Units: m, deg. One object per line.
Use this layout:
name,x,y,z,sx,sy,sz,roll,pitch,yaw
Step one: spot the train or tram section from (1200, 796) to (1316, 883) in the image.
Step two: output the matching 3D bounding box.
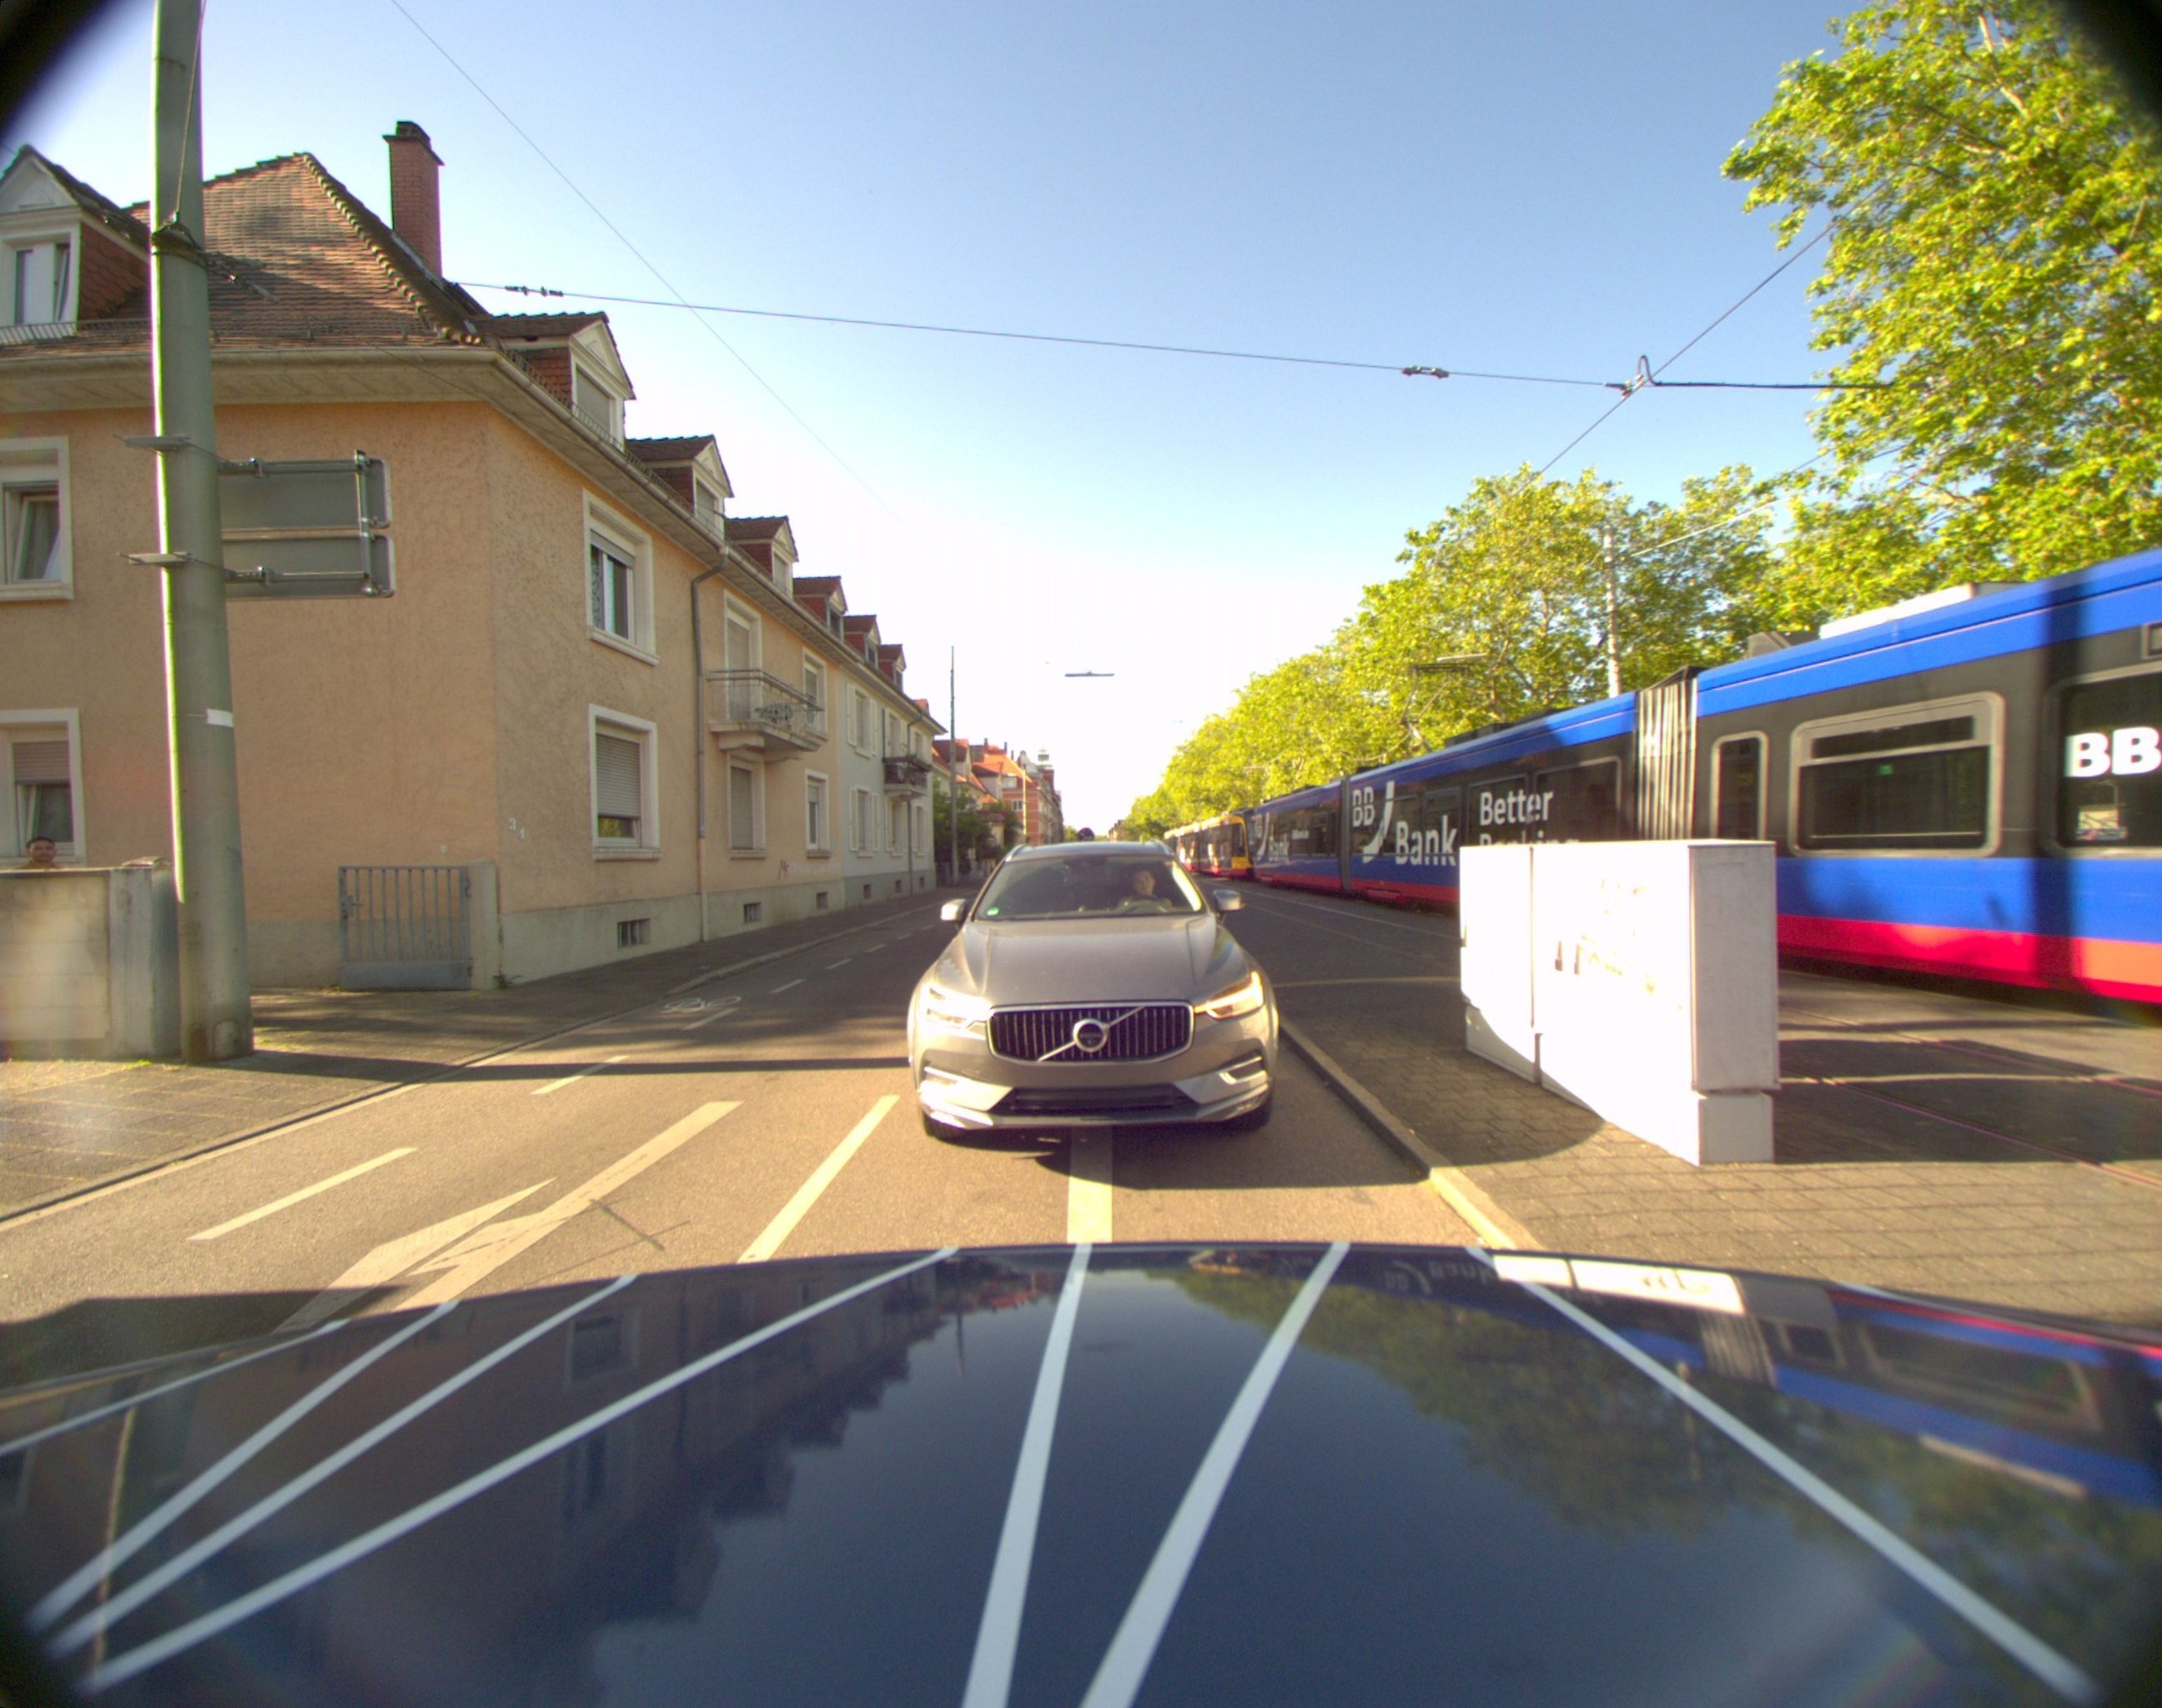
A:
train or tram section,8.351,-0.626,37.898,3.063,3.592,12.114,-1,0,1

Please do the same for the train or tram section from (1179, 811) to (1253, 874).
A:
train or tram section,8.588,-0.690,49.954,3.062,3.592,11.950,-1,0,2

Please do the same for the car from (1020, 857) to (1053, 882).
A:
car,-2.782,0.971,48.399,1.882,1.477,3.999,-1,0,-1

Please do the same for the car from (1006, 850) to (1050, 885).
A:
car,-2.916,0.717,42.852,1.932,1.834,5.313,-1,0,2

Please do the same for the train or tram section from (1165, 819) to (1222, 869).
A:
train or tram section,8.977,-0.751,62.417,3.062,3.592,12.889,-1,0,2

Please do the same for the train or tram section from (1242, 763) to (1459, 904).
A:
train or tram section,8.264,-0.559,25.738,3.063,3.592,12.113,-1,0,0

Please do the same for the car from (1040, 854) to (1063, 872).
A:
car,-2.625,0.756,67.520,1.882,1.477,3.999,-1,0,-1

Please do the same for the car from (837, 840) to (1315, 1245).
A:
car,0.009,0.763,5.349,1.917,1.621,4.502,-1,0,1

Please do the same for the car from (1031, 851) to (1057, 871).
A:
car,-2.946,0.552,60.592,1.882,1.477,3.999,-1,0,-1

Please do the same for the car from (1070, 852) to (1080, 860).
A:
car,-1.119,0.290,147.770,1.882,1.477,3.999,-1,0,-1

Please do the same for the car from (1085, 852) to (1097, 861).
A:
car,1.718,0.408,128.866,1.882,1.477,3.999,-1,0,-1

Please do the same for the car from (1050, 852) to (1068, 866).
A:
car,-2.467,0.535,85.587,1.882,1.477,3.999,-1,0,-1

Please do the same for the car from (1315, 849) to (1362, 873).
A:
car,17.017,0.454,50.334,1.882,1.477,4.000,-1,0,2

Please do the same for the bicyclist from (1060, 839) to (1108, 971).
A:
bicyclist,0.045,0.661,10.217,0.600,1.709,0.662,-1,1,1

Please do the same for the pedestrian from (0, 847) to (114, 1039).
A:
pedestrian,-9.869,0.816,7.230,0.486,1.750,0.602,-1,1,2

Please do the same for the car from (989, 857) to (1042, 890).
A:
car,-3.149,0.911,37.166,1.881,1.477,4.001,-1,0,5

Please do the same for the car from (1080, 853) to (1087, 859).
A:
car,0.779,0.608,209.302,1.882,1.477,3.999,-1,0,-1

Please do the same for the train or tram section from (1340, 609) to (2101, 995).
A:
train or tram section,8.203,-0.514,13.457,3.063,3.592,12.502,-1,0,1

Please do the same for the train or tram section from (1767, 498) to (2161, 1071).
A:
train or tram section,8.609,-0.444,1.371,3.064,3.592,12.108,-1,0,-5
